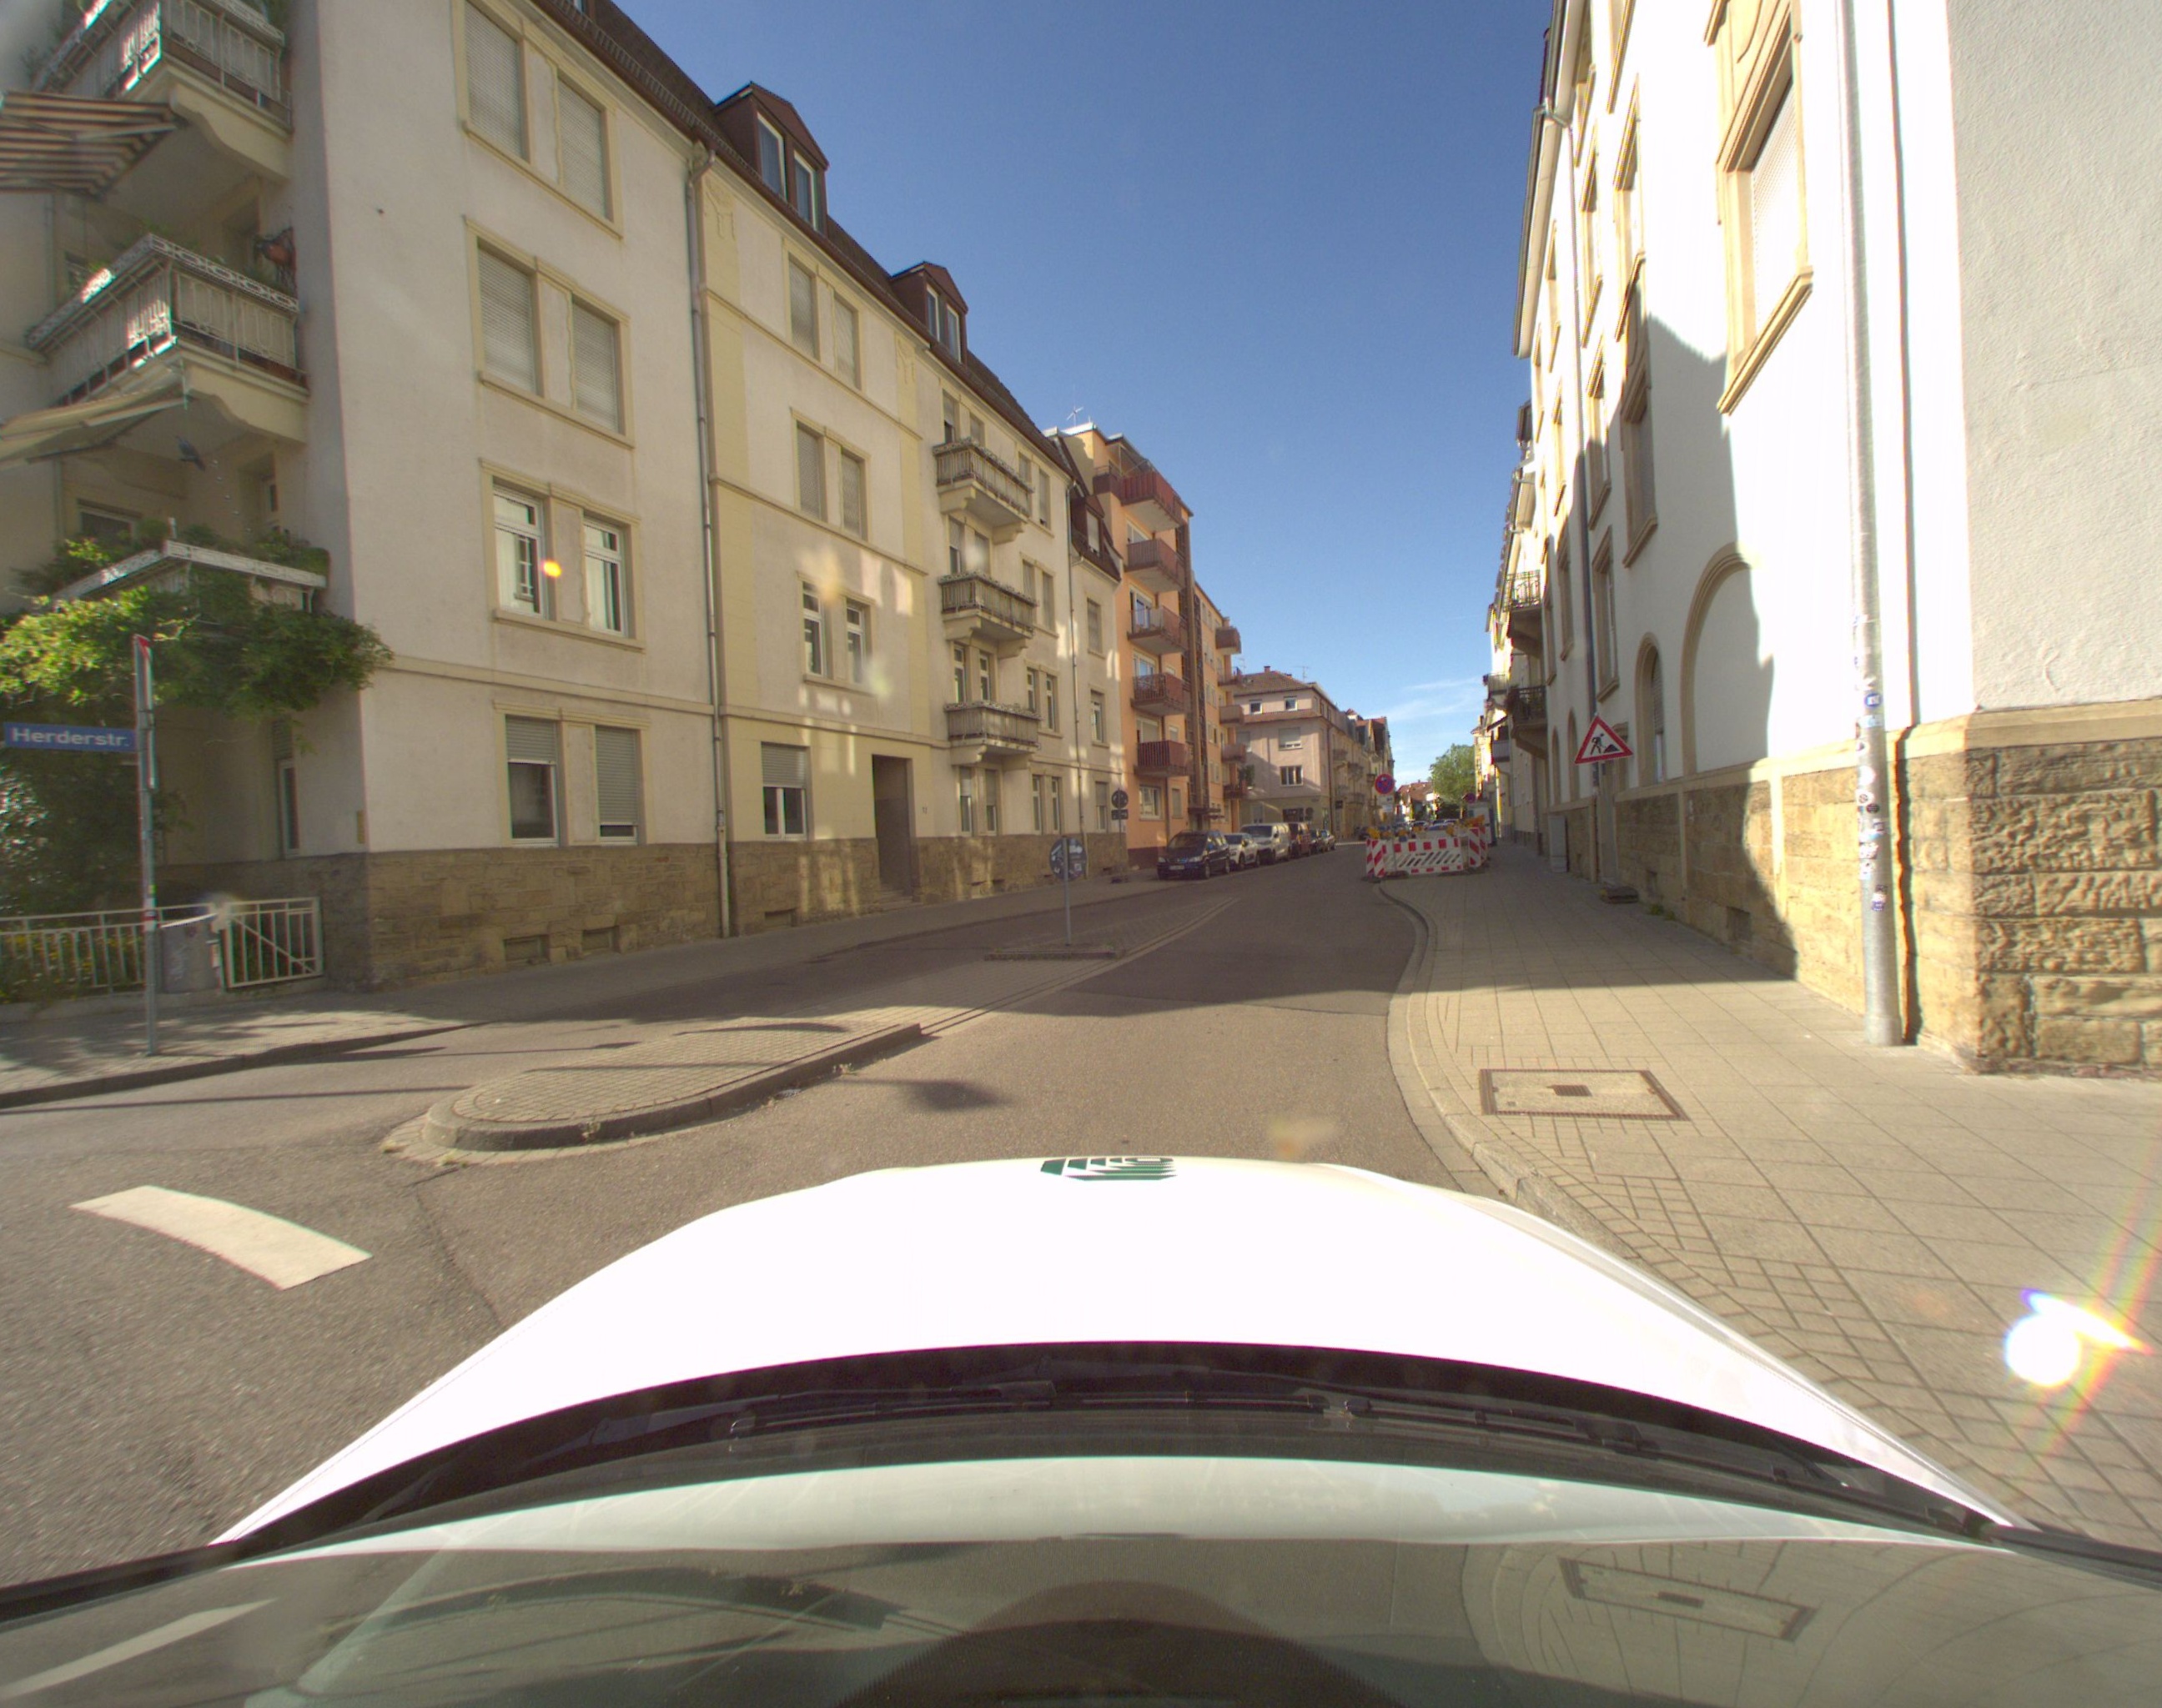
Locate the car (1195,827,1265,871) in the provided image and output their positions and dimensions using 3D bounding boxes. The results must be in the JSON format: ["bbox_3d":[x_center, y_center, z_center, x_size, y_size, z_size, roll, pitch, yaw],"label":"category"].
[{"bbox_3d":[6.202,-0.254,33.494,1.746,1.620,4.320,-2,1,25],"label":"car"}]

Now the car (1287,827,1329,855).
[{"bbox_3d":[13.699,-0.820,49.039,1.747,1.502,4.023,-3,1,24],"label":"car"}]

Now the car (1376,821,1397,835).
[{"bbox_3d":[35.674,-3.027,95.016,1.985,1.618,4.513,0,1,25],"label":"car"}]

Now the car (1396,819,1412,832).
[{"bbox_3d":[46.550,-4.140,117.373,1.985,1.788,4.513,0,1,25],"label":"car"}]

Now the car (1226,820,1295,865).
[{"bbox_3d":[8.514,-0.587,38.164,1.957,1.925,5.341,-2,1,25],"label":"car"}]

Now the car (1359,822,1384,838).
[{"bbox_3d":[28.155,-2.310,78.825,1.664,1.426,4.300,0,1,27],"label":"car"}]

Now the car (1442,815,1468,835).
[{"bbox_3d":[34.656,-2.689,75.395,1.895,1.644,4.802,-4,-1,28],"label":"car"}]

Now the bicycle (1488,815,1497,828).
[{"bbox_3d":[41.687,-3.275,82.475,0.754,1.246,2.607,-2,1,25],"label":"bicycle"}]

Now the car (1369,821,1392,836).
[{"bbox_3d":[32.539,-2.752,88.416,1.985,1.582,4.513,0,1,25],"label":"car"}]

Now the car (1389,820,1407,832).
[{"bbox_3d":[41.855,-3.668,107.385,1.985,1.618,4.513,0,1,25],"label":"car"}]

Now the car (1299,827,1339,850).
[{"bbox_3d":[15.600,-1.035,53.294,1.746,1.377,4.505,1,3,26],"label":"car"}]

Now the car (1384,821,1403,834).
[{"bbox_3d":[39.637,-3.349,103.155,1.961,1.482,4.353,0,1,25],"label":"car"}]

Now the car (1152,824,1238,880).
[{"bbox_3d":[4.088,-0.117,28.605,1.746,1.771,4.320,-2,1,25],"label":"car"}]

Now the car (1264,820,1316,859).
[{"bbox_3d":[11.357,-0.820,43.937,1.746,1.925,4.964,-2,1,25],"label":"car"}]

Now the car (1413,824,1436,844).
[{"bbox_3d":[35.370,-2.067,83.890,1.985,1.913,4.514,0,1,25],"label":"car"}]

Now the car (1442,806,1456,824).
[{"bbox_3d":[60.143,-6.328,133.015,1.821,2.534,4.200,-4,-1,26],"label":"car"}]
